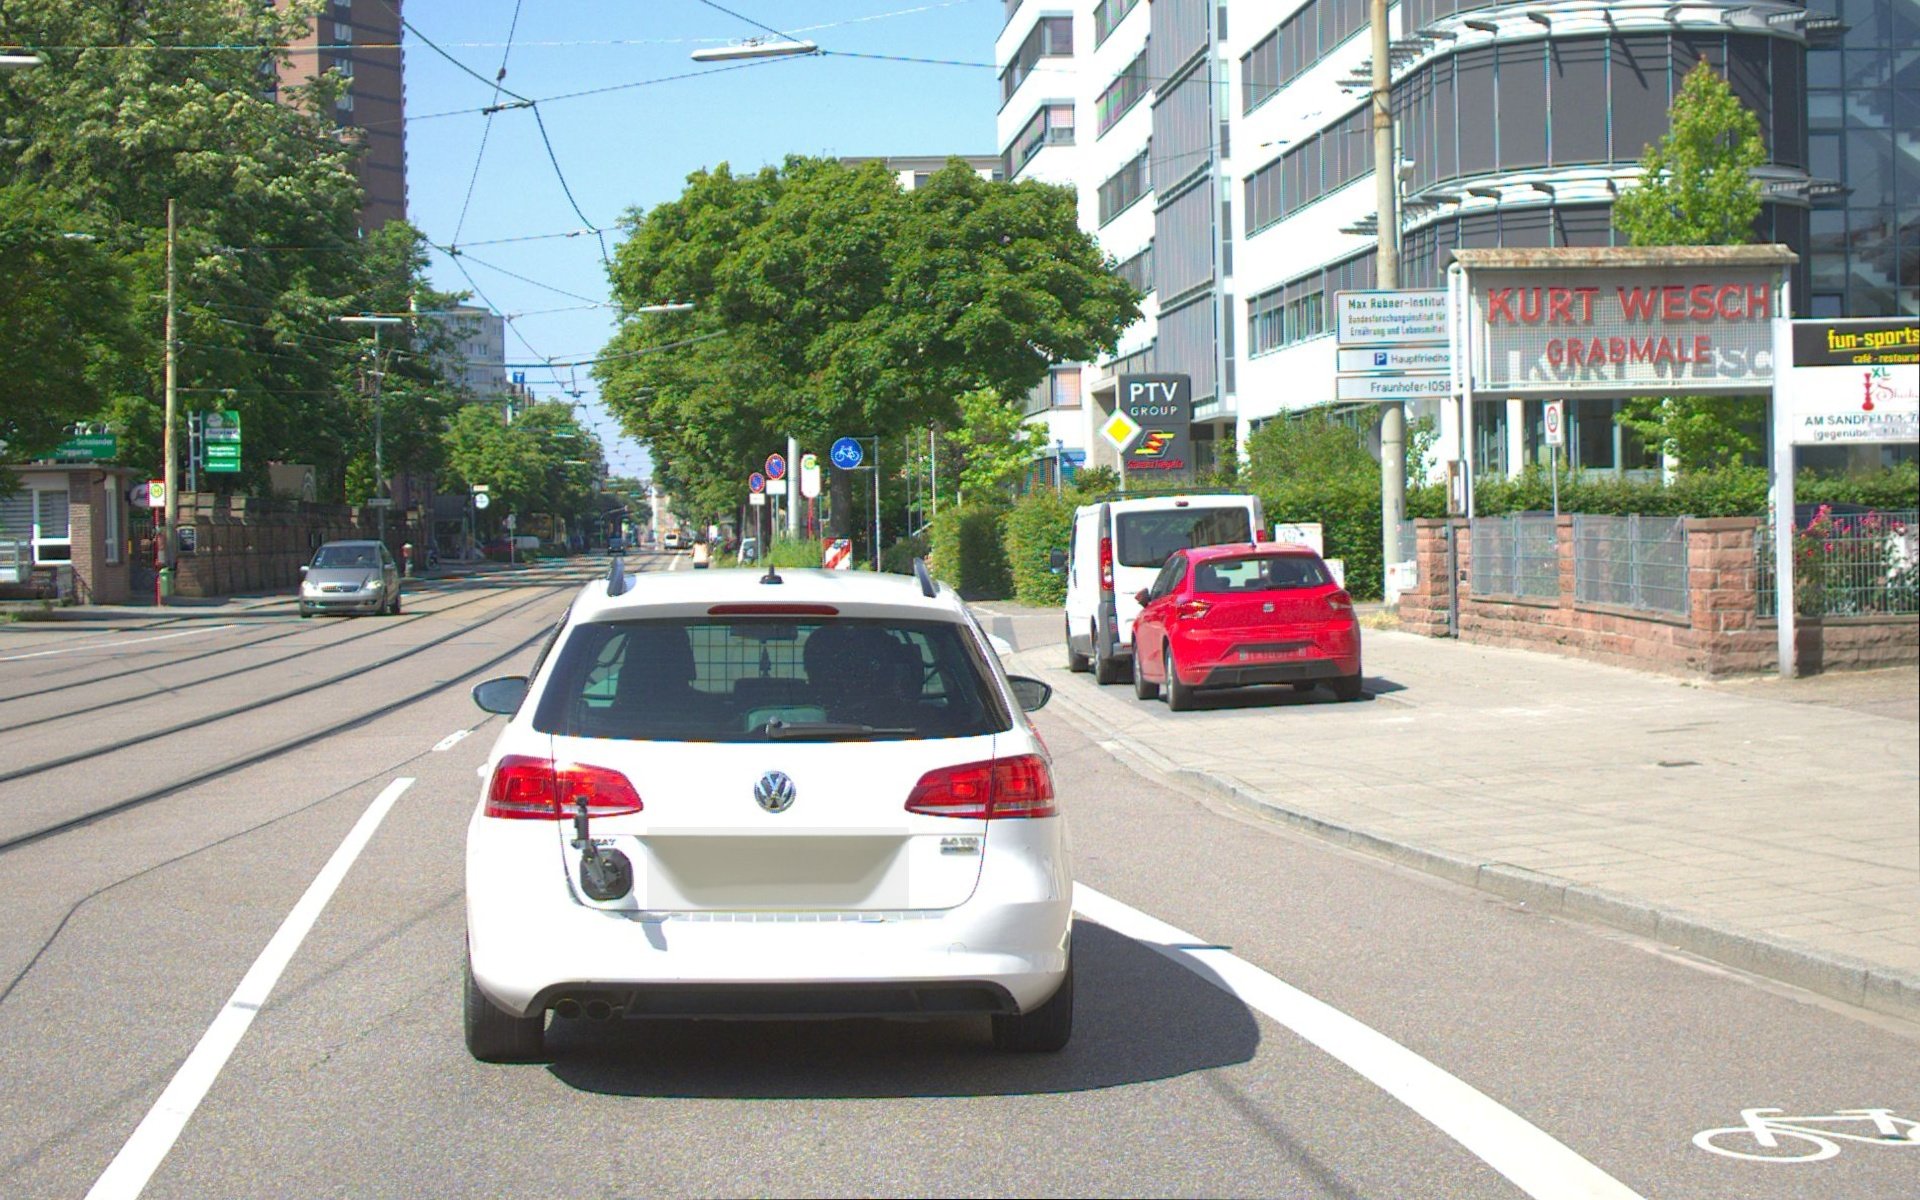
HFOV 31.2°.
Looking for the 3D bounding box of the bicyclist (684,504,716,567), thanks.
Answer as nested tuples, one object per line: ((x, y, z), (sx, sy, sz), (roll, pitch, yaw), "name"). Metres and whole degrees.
((-6.878, -1.709, 90.935), (0.785, 1.623, 0.738), (2, 0, -4), "bicyclist")

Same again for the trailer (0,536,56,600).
((-23.638, -0.768, 82.957), (3.215, 1.520, 1.778), (-1, 1, -3), "trailer")

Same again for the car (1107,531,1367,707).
((2.492, 0.123, 31.851), (1.721, 1.438, 4.313), (-3, 1, -4), "car")

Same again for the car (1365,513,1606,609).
((8.524, -0.642, 55.894), (3.593, 1.468, 1.592), (-1, 1, -3), "car")

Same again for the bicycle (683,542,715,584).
((-6.864, -0.990, 90.598), (0.811, 1.074, 2.012), (-1, 1, -4), "bicycle")

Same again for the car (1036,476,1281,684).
((2.115, -0.255, 38.148), (1.976, 2.047, 5.192), (-3, 1, -4), "car")

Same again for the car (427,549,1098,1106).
((-0.661, 0.562, 11.221), (1.753, 1.437, 4.413), (0, 1, -4), "car")

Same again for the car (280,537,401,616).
((-13.071, -0.508, 72.710), (1.746, 1.566, 3.891), (-2, 1, 1), "car")
